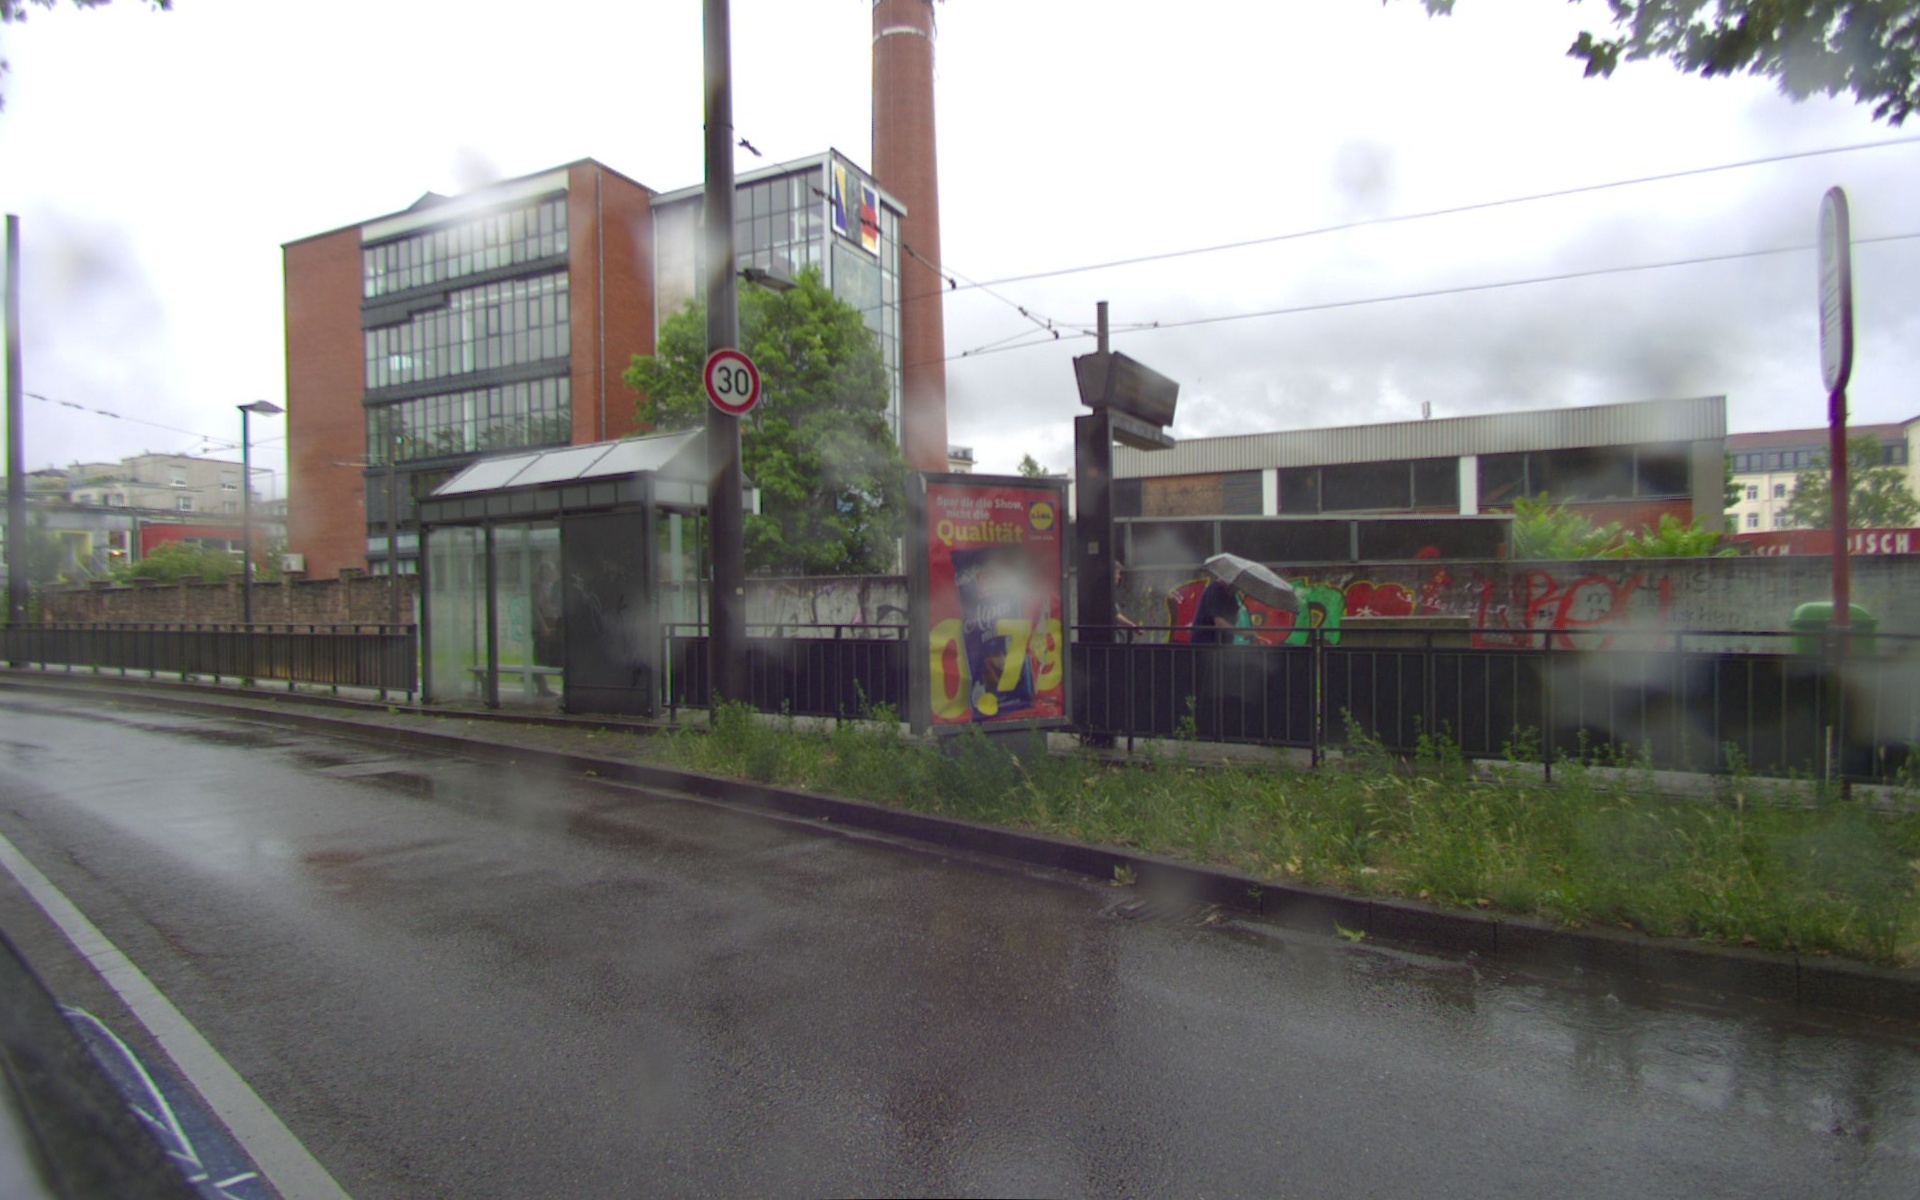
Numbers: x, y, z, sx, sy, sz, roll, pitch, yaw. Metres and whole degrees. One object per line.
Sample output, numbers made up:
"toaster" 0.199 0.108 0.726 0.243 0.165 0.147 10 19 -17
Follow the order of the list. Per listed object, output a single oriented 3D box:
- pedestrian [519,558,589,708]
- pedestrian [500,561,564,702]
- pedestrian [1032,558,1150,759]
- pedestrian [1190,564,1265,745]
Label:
"pedestrian" -4.920 0.382 12.273 0.620 1.762 0.565 -1 0 -41
"pedestrian" -5.517 0.390 13.039 0.620 1.762 0.515 -1 0 -41
"pedestrian" 1.262 0.533 9.707 0.841 1.818 0.819 -1 0 30
"pedestrian" 2.236 0.431 8.428 0.492 1.438 0.606 -1 0 25
